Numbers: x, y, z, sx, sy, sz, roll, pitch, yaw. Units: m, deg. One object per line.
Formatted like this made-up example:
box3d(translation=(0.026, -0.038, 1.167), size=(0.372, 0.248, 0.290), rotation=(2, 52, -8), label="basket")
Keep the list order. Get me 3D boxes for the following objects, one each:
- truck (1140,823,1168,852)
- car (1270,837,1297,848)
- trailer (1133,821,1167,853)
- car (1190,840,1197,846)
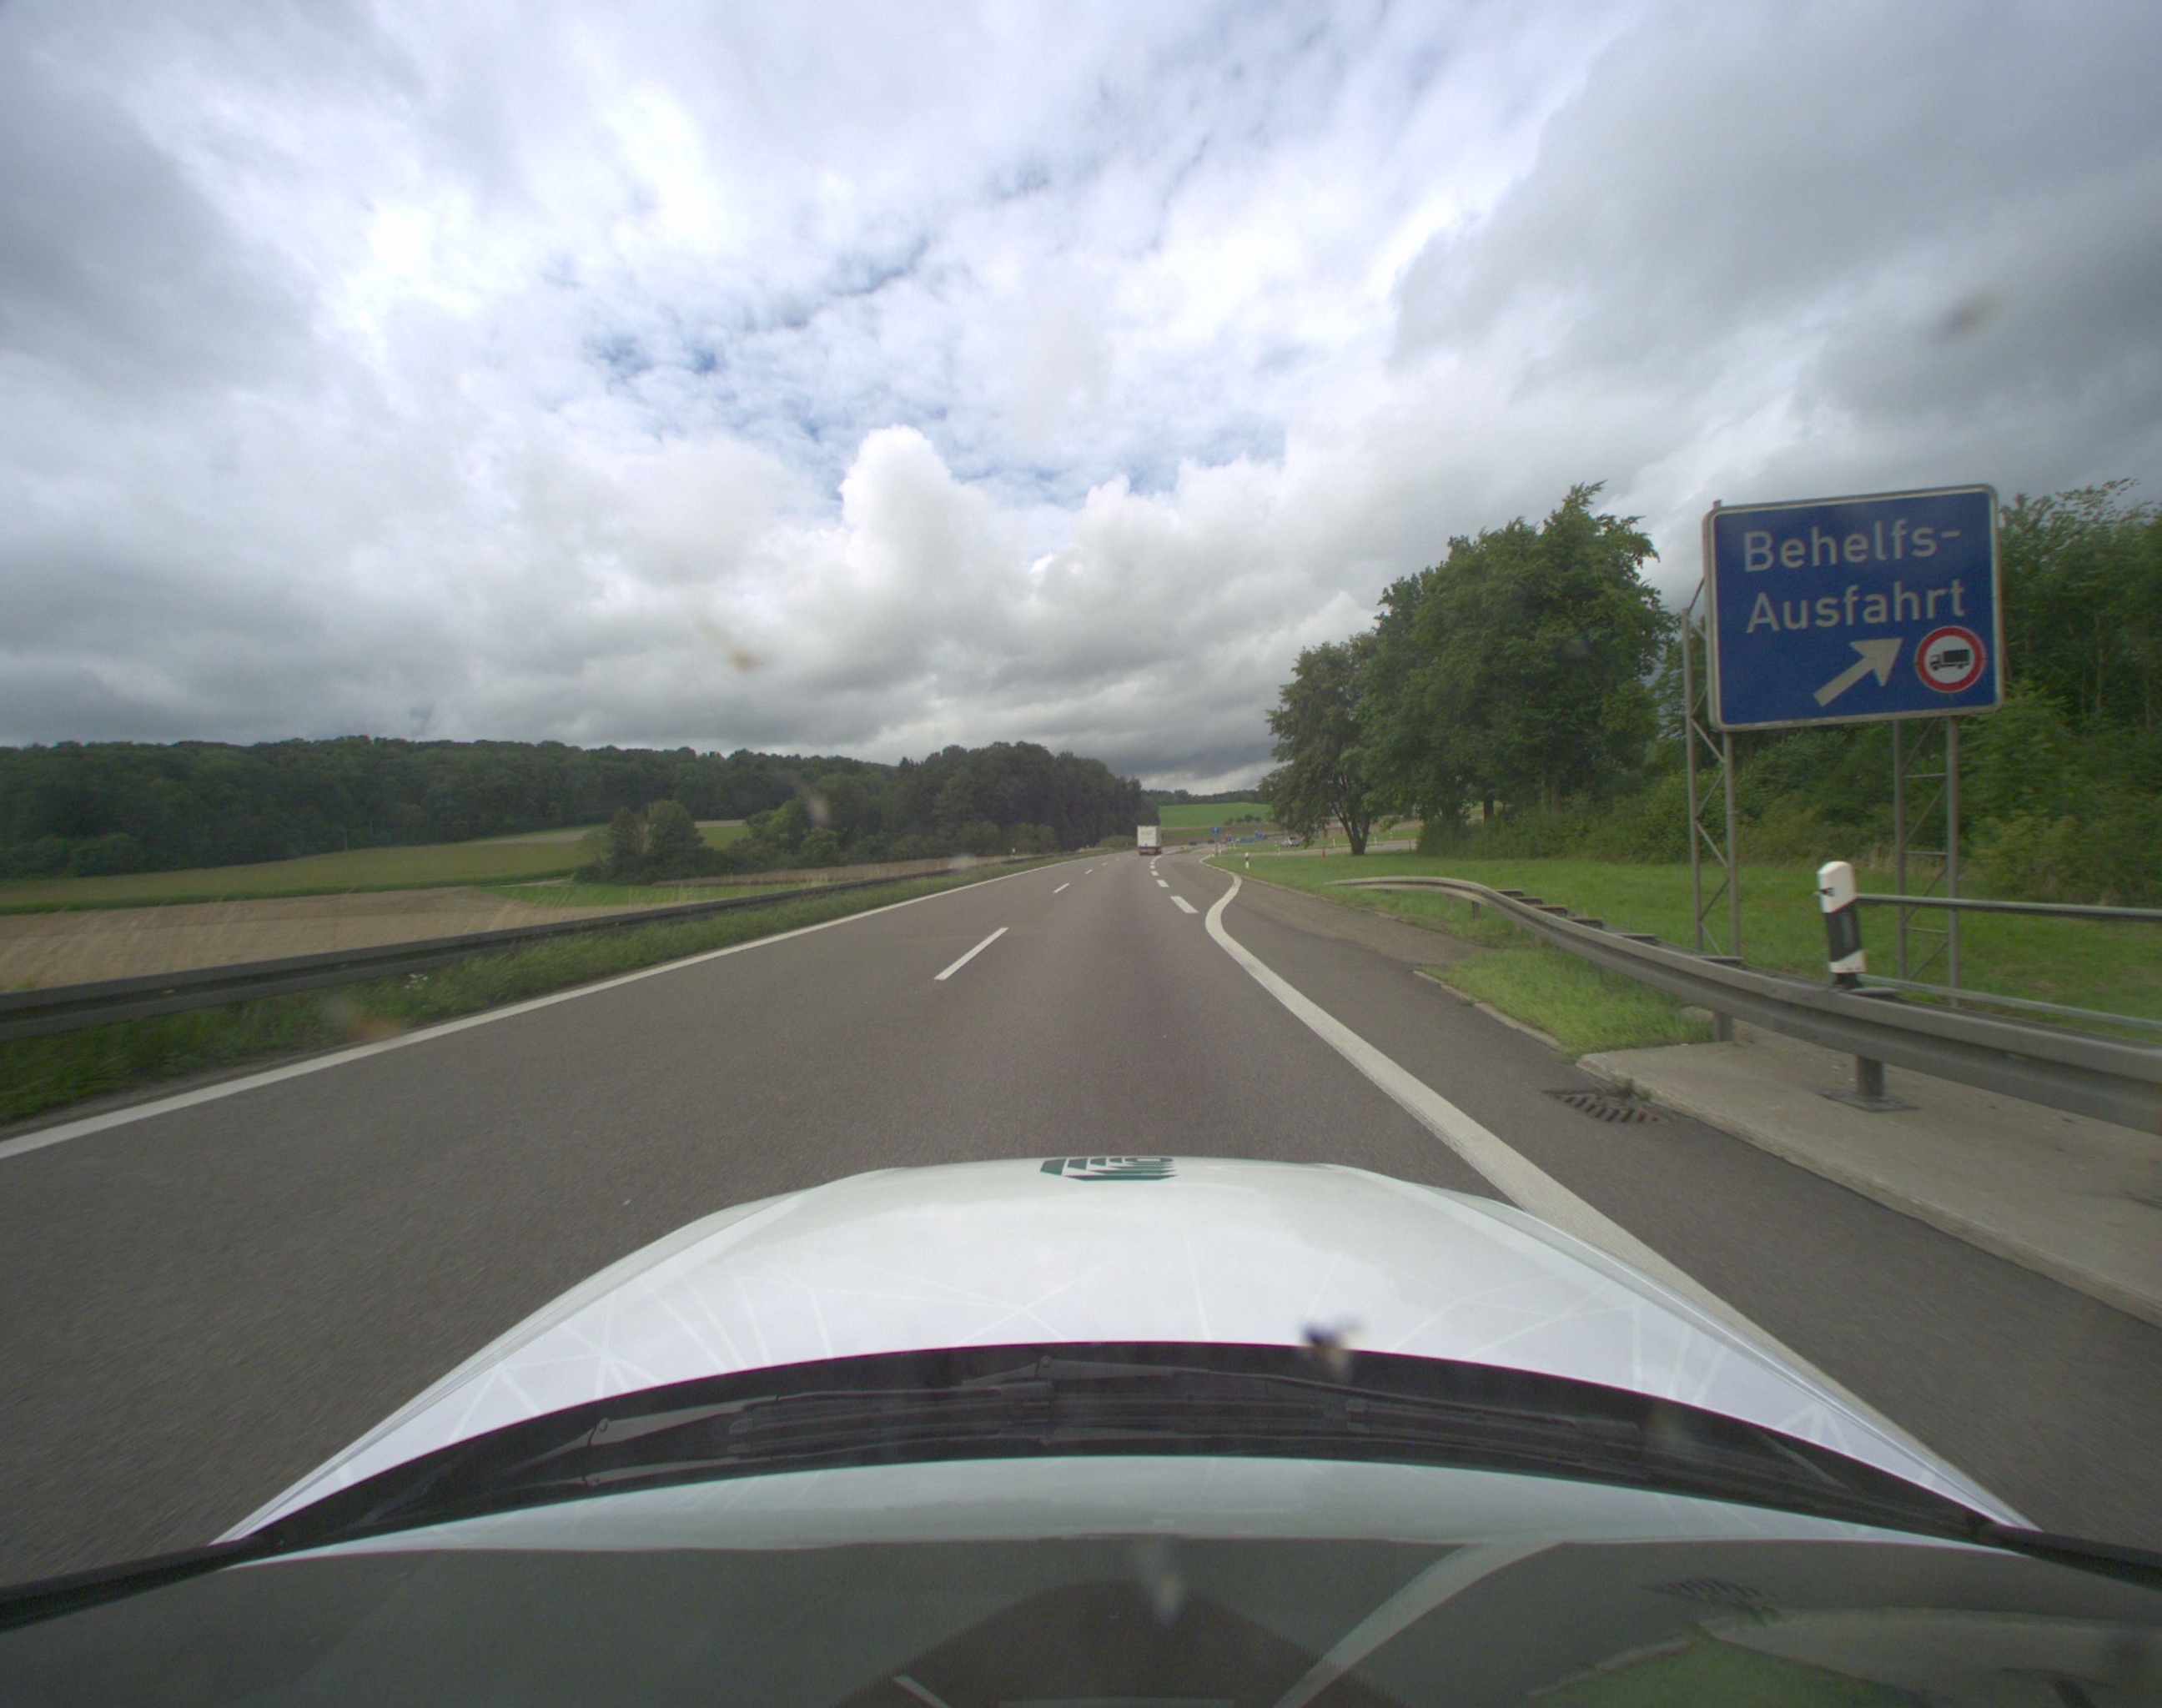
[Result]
box3d(translation=(10.950, -2.503, 121.516), size=(3.766, 4.131, 8.285), rotation=(0, 1, 8), label="truck")
box3d(translation=(30.152, -1.770, 121.329), size=(1.786, 1.552, 3.968), rotation=(-3, 1, -24), label="car")
box3d(translation=(9.861, -2.350, 114.500), size=(3.783, 4.174, 14.846), rotation=(0, 1, 9), label="trailer")
box3d(translation=(34.027, -3.297, 245.613), size=(1.891, 1.795, 4.012), rotation=(-1, -1, 11), label="car")
